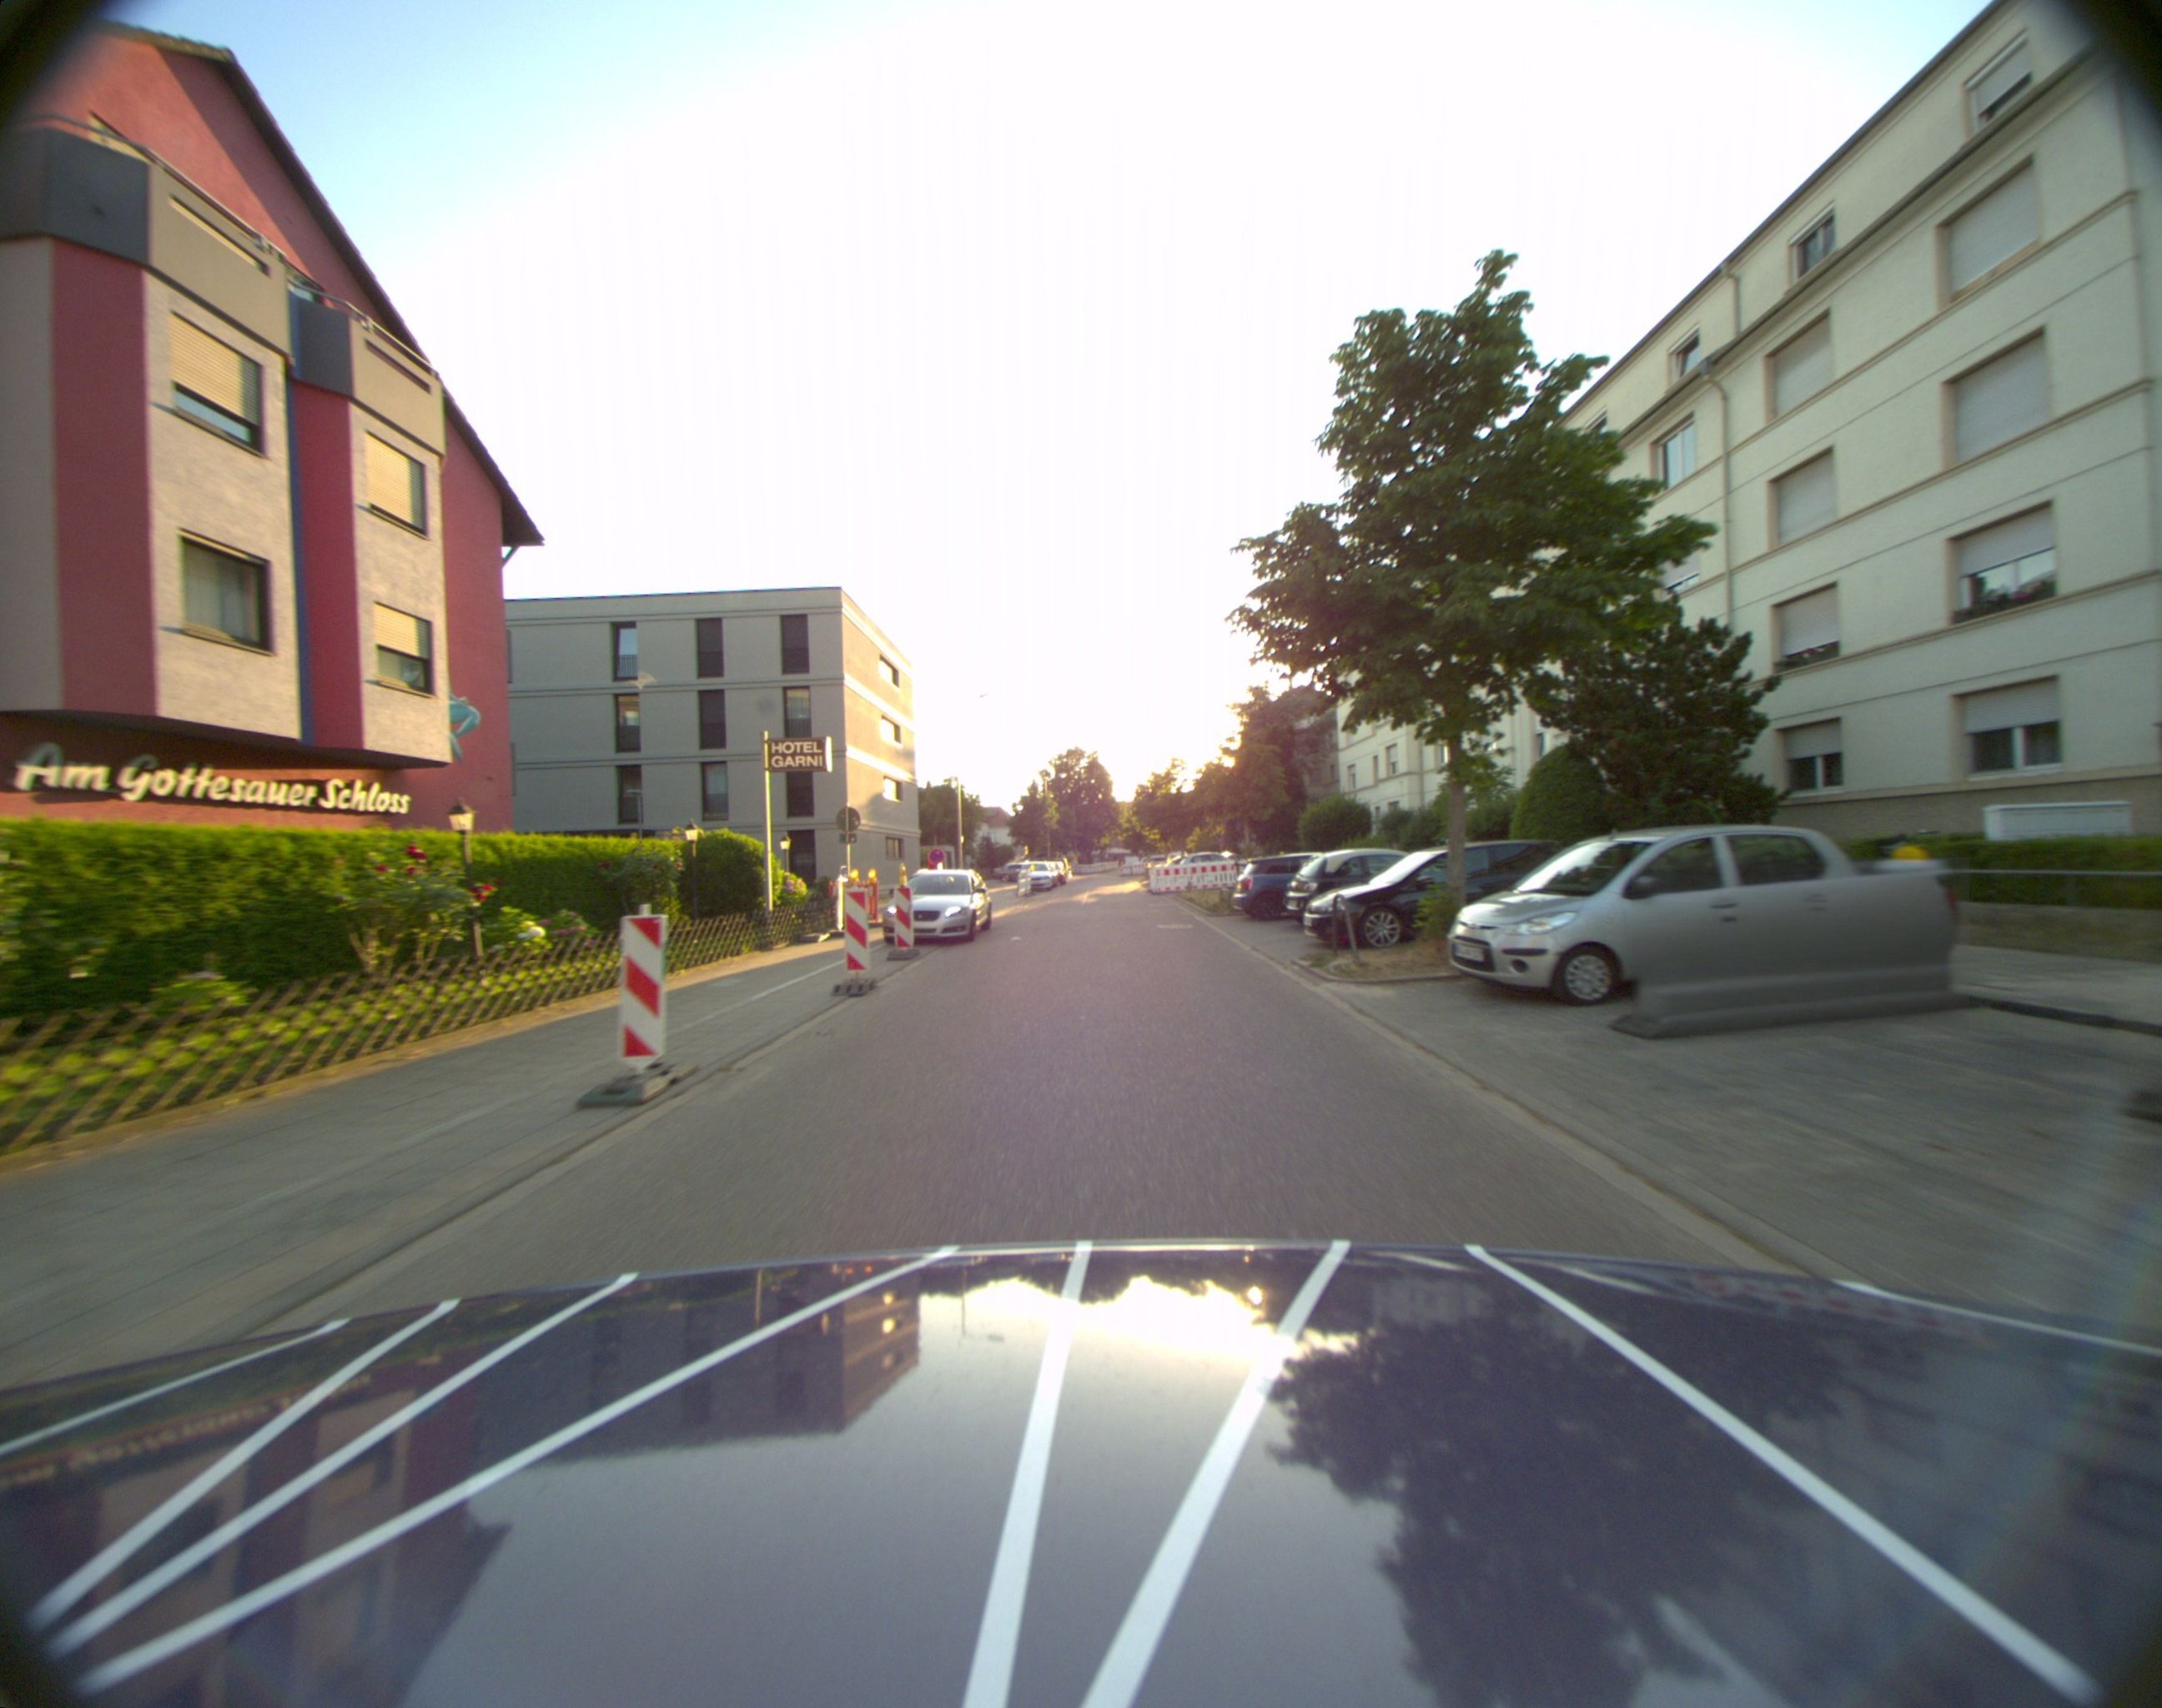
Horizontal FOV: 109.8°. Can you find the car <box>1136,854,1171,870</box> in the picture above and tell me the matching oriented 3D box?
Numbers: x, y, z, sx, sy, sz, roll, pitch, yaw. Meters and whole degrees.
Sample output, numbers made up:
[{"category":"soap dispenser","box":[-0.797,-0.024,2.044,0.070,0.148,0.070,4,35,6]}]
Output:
[{"category":"car","box":[8.841,0.976,92.804,4.129,1.673,2.001,-2,0,6]}]

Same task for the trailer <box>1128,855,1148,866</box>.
[{"category":"trailer","box":[11.819,1.423,157.899,3.682,2.056,2.002,-3,0,15]}]

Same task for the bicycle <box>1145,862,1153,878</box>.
[{"category":"bicycle","box":[4.869,1.134,54.279,0.448,1.089,1.629,-1,1,1]}]

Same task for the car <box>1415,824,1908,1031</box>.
[{"category":"car","box":[5.407,0.611,7.394,3.484,1.557,1.727,-3,1,-3]}]

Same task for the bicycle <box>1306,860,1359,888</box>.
[{"category":"bicycle","box":[9.844,0.789,29.774,1.925,0.986,0.360,-3,0,2]}]

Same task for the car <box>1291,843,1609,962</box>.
[{"category":"car","box":[5.471,0.690,11.673,3.986,1.480,1.728,-3,1,4]}]

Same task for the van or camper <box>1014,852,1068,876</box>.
[{"category":"van or camper","box":[-3.558,0.911,67.801,4.659,1.942,2.094,-2,0,-1]}]

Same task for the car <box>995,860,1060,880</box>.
[{"category":"car","box":[-4.050,1.244,58.031,4.829,1.389,1.770,-1,-1,2]}]

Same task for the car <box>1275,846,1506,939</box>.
[{"category":"car","box":[5.815,0.698,14.603,3.686,1.475,1.728,-3,0,1]}]

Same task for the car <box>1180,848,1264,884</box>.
[{"category":"car","box":[6.829,0.592,37.018,3.709,1.475,1.728,-4,0,0]}]

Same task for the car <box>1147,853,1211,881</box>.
[{"category":"car","box":[6.342,0.860,49.492,3.996,1.533,1.729,-4,0,4]}]

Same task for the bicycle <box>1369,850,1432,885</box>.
[{"category":"bicycle","box":[11.715,0.487,27.870,2.033,1.179,0.540,-3,0,2]}]

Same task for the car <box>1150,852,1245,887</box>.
[{"category":"car","box":[6.032,0.787,39.660,4.521,1.475,1.727,-4,0,-7]}]

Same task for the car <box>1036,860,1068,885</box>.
[{"category":"car","box":[-1.859,1.166,49.412,1.745,1.461,3.759,-2,0,2]}]

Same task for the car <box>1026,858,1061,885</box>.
[{"category":"car","box":[-2.164,1.013,44.390,1.802,1.461,3.843,-2,0,0]}]

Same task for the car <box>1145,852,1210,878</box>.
[{"category":"car","box":[5.991,0.701,47.639,3.851,1.376,1.607,-4,0,2]}]

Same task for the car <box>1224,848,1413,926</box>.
[{"category":"car","box":[5.256,0.706,17.156,3.686,1.437,1.728,-3,1,2]}]

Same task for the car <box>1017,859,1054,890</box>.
[{"category":"car","box":[-2.281,1.025,38.850,1.618,1.461,3.997,-2,0,-1]}]

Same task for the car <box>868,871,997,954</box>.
[{"category":"car","box":[-2.942,1.111,15.948,1.780,1.388,4.108,-2,0,1]}]

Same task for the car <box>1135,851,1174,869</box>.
[{"category":"car","box":[9.205,0.784,95.319,4.785,2.057,2.001,-2,0,6]}]
